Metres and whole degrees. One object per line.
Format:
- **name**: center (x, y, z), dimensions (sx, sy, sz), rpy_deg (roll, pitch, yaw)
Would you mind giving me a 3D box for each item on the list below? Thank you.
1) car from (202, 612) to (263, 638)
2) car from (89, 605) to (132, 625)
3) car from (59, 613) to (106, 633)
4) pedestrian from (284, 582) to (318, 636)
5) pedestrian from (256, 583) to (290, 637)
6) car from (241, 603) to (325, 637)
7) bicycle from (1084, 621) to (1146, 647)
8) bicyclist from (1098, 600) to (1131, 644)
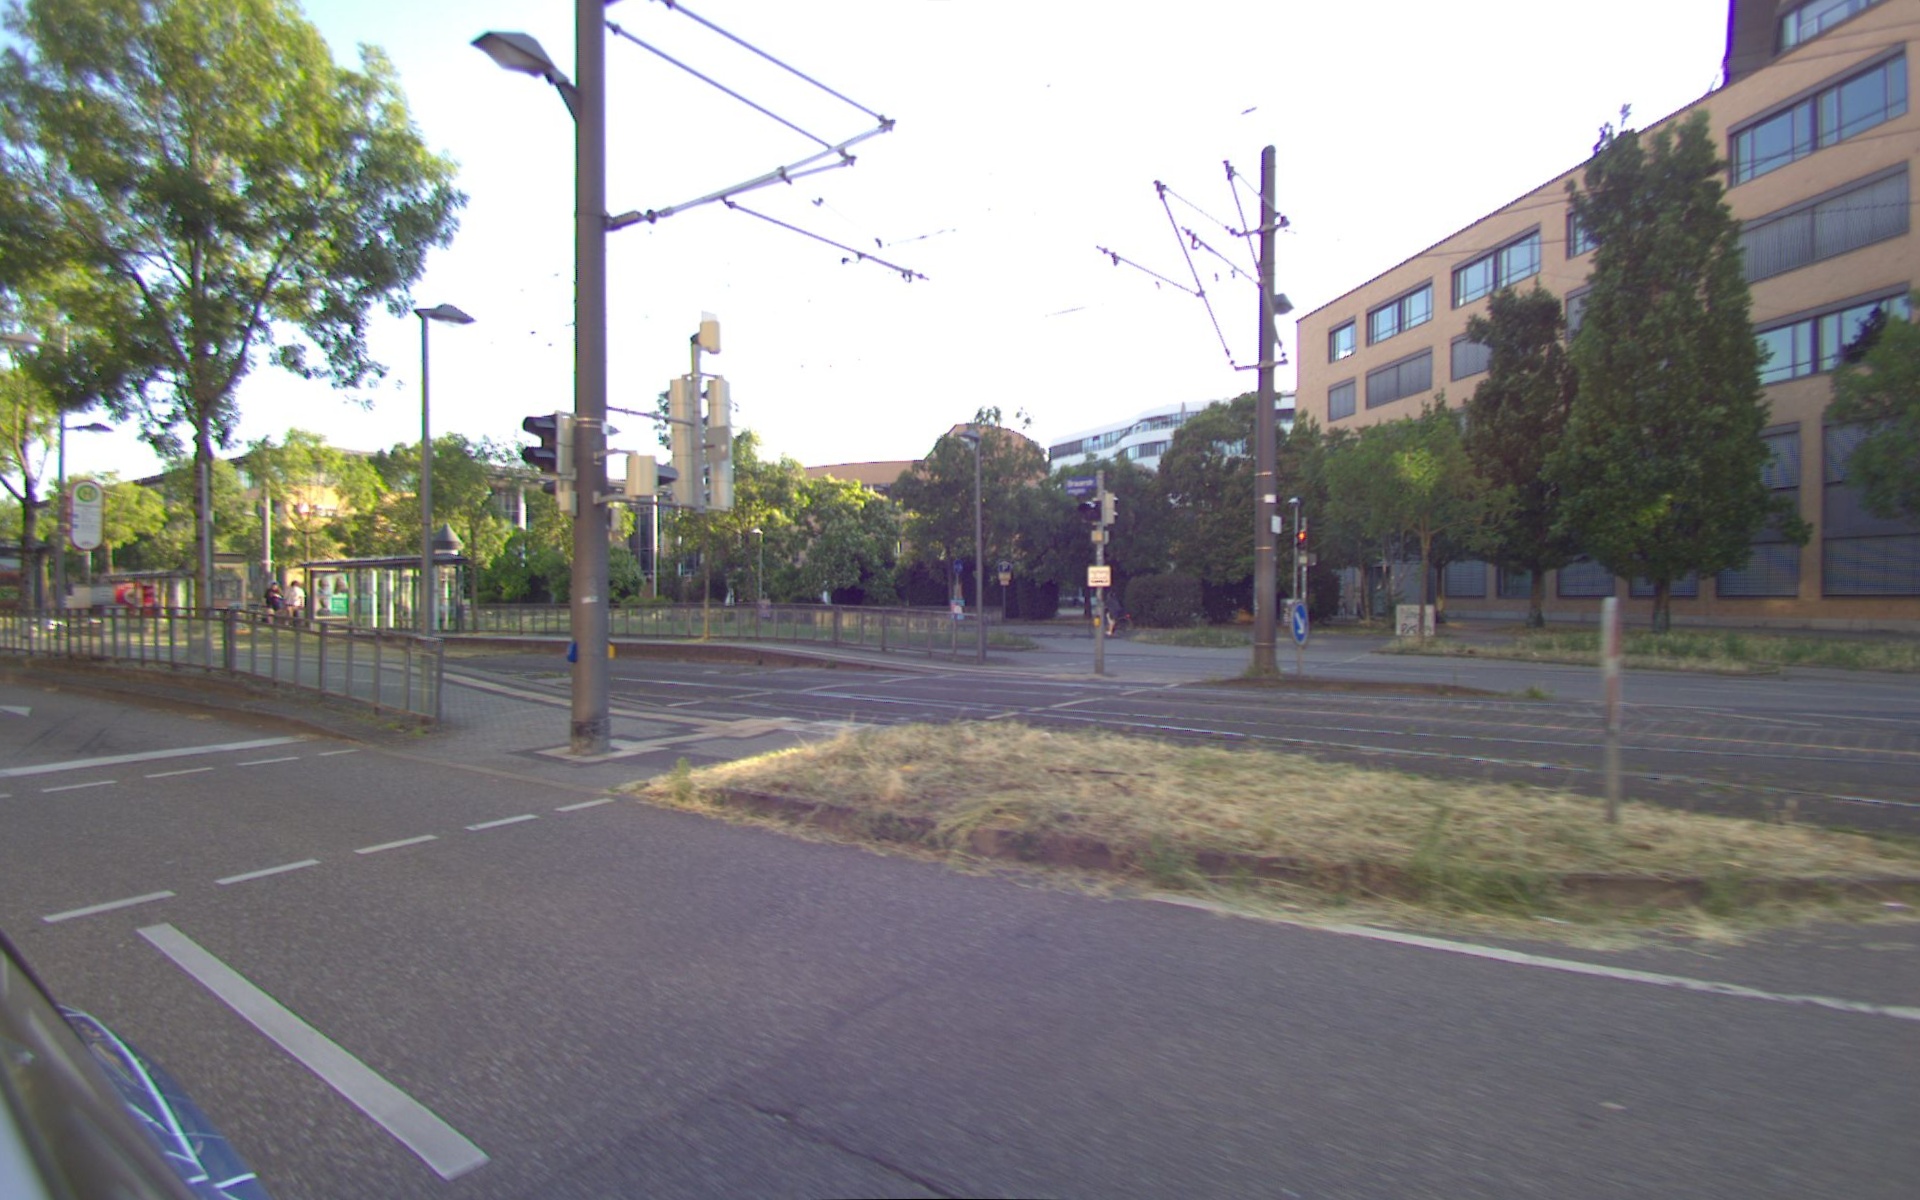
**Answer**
- **car**: center (-42.513, 1.446, 59.114), dimensions (4.425, 1.424, 1.595), rpy_deg (0, 0, 36)
- **car**: center (-62.948, 1.095, 74.992), dimensions (3.743, 1.387, 1.597), rpy_deg (-1, -3, 37)
- **car**: center (-60.248, 1.538, 69.473), dimensions (3.993, 1.307, 1.678), rpy_deg (-1, 0, 37)
- **pedestrian**: center (-25.077, 0.344, 38.516), dimensions (1.126, 2.029, 0.762), rpy_deg (-1, 0, 39)
- **pedestrian**: center (-25.966, 0.378, 38.223), dimensions (1.126, 2.029, 0.762), rpy_deg (-1, 0, 39)
- **car**: center (-33.107, 0.963, 49.446), dimensions (4.887, 1.563, 1.975), rpy_deg (-1, 0, 38)
- **bicycle**: center (5.289, 1.154, 34.613), dimensions (1.964, 0.827, 0.766), rpy_deg (-1, 0, 39)
- **bicyclist**: center (5.285, 0.729, 34.605), dimensions (0.827, 1.478, 0.760), rpy_deg (-1, 0, 39)
